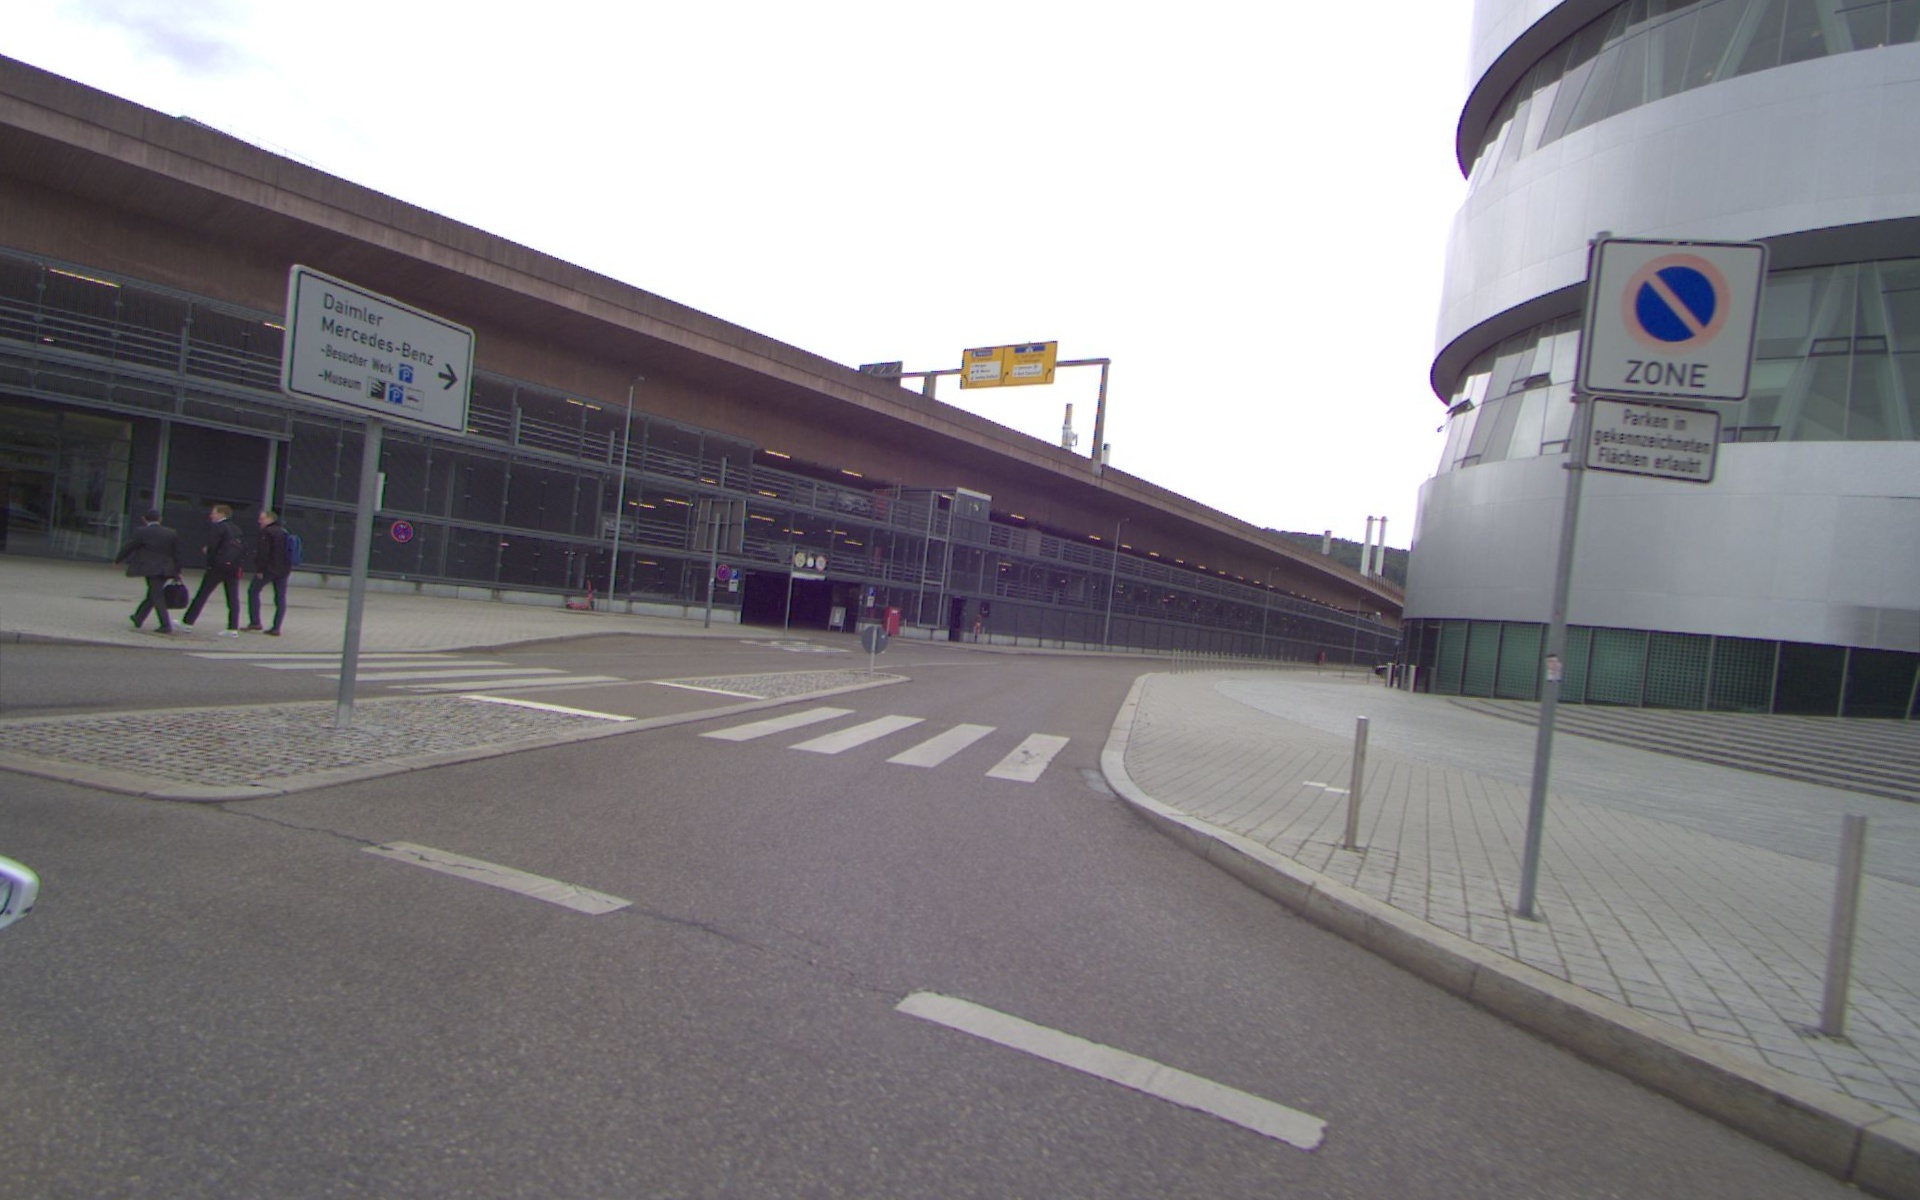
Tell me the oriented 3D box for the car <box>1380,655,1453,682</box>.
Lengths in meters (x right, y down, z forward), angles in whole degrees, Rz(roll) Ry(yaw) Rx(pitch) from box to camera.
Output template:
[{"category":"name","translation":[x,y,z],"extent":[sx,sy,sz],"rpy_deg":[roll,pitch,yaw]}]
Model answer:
[{"category":"car","translation":[35.410,5.305,78.125],"extent":[4.832,1.415,1.530],"rpy_deg":[7,-1,37]}]

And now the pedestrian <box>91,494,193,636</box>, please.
[{"category":"pedestrian","translation":[-10.738,-0.461,13.200],"extent":[0.860,1.726,0.763],"rpy_deg":[7,0,-42]}]

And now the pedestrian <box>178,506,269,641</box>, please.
[{"category":"pedestrian","translation":[-10.121,-0.360,13.823],"extent":[0.782,1.726,0.763],"rpy_deg":[7,0,-43]}]

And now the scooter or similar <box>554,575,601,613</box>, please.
[{"category":"scooter or similar","translation":[-13.159,-0.202,34.650],"extent":[0.375,1.136,1.423],"rpy_deg":[7,0,39]}]

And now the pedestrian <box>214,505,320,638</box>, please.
[{"category":"pedestrian","translation":[-10.276,-0.405,14.932],"extent":[0.769,1.820,0.864],"rpy_deg":[7,0,28]}]
